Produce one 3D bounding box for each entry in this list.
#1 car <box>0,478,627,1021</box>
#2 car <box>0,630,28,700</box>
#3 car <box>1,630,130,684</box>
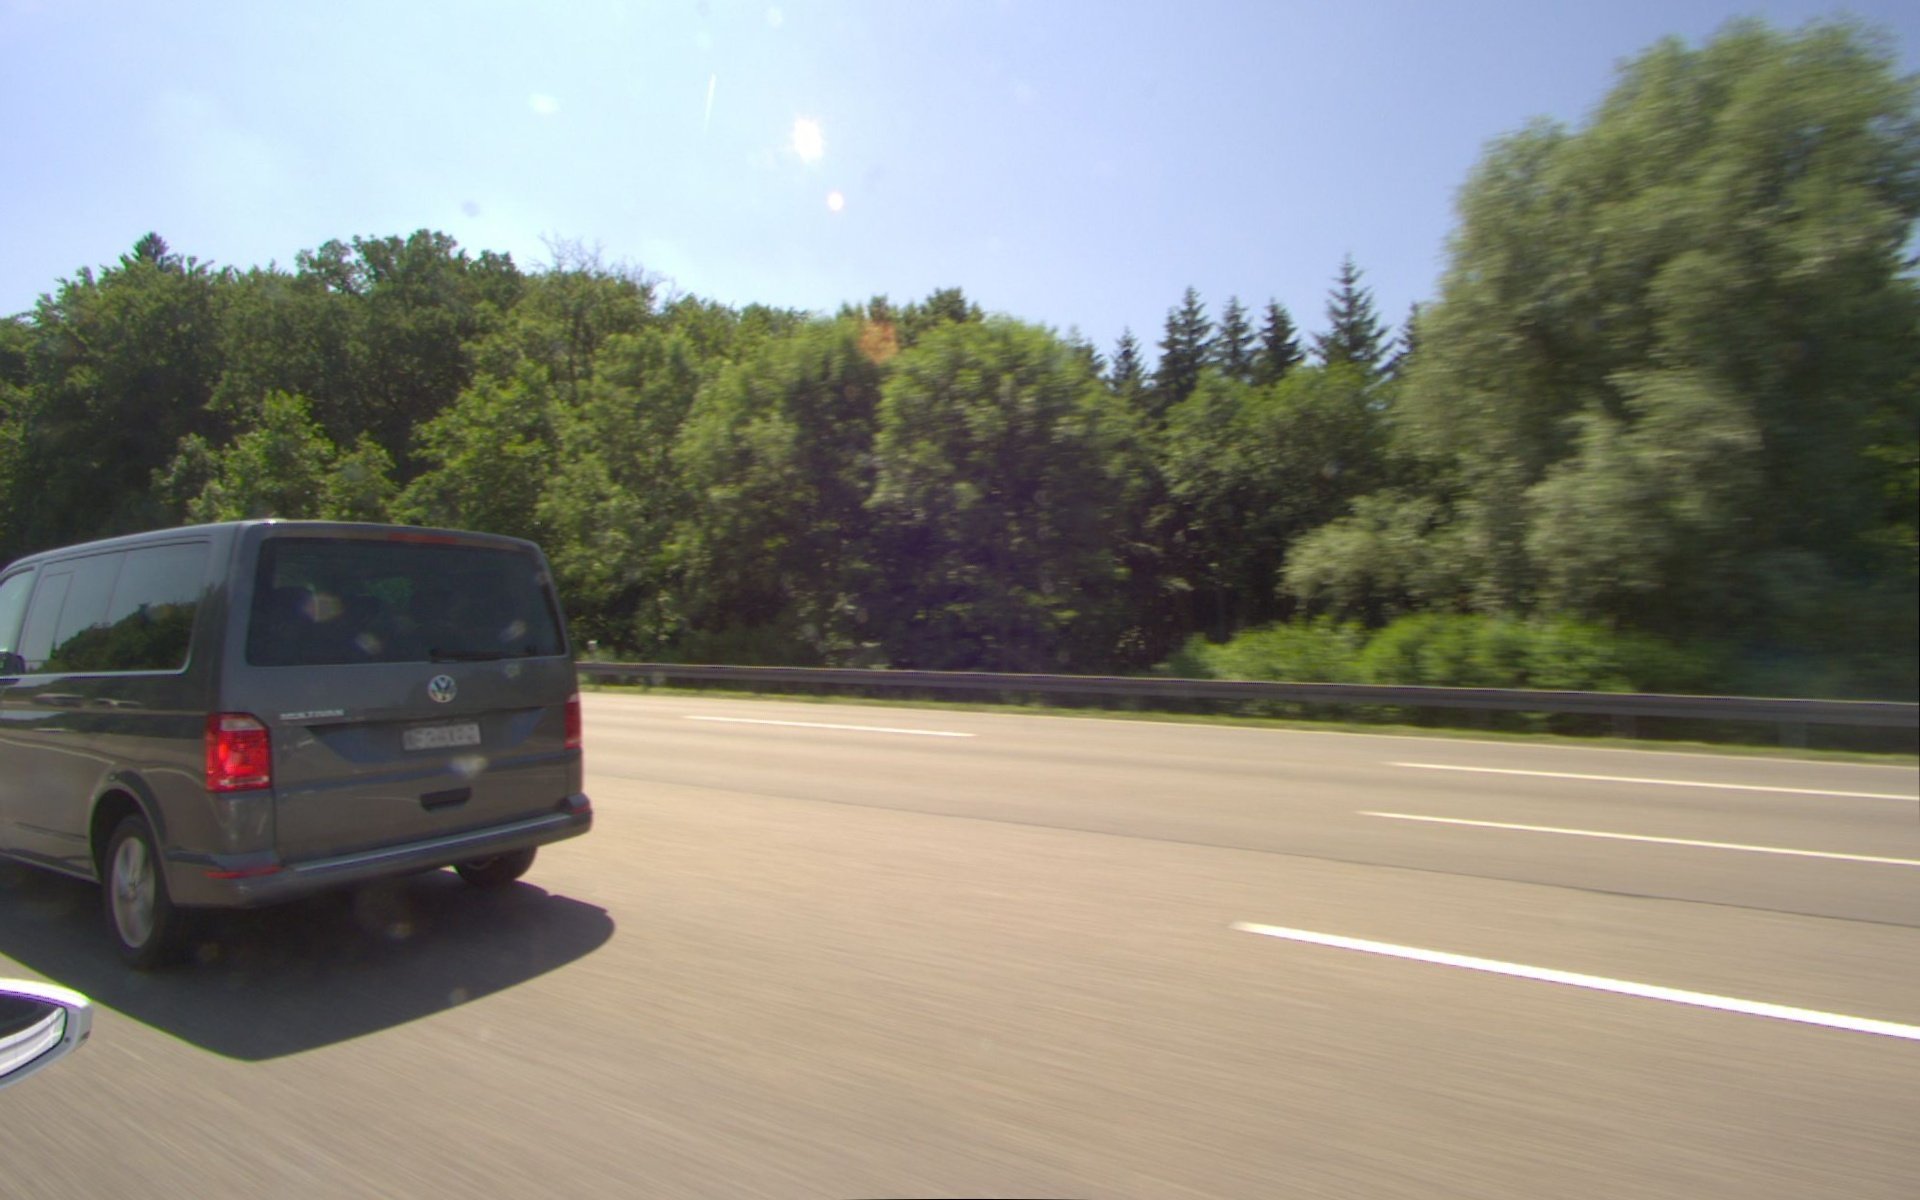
[{"bbox_3d":[-4.464,0.631,5.973,5.010,2.059,1.960,-1,-2,32],"label":"car"},{"bbox_3d":[-21.164,1.324,20.794,4.095,1.414,1.699,-1,-2,33],"label":"car"},{"bbox_3d":[-25.809,1.636,28.859,4.277,1.461,1.543,-2,-3,31],"label":"car"}]
